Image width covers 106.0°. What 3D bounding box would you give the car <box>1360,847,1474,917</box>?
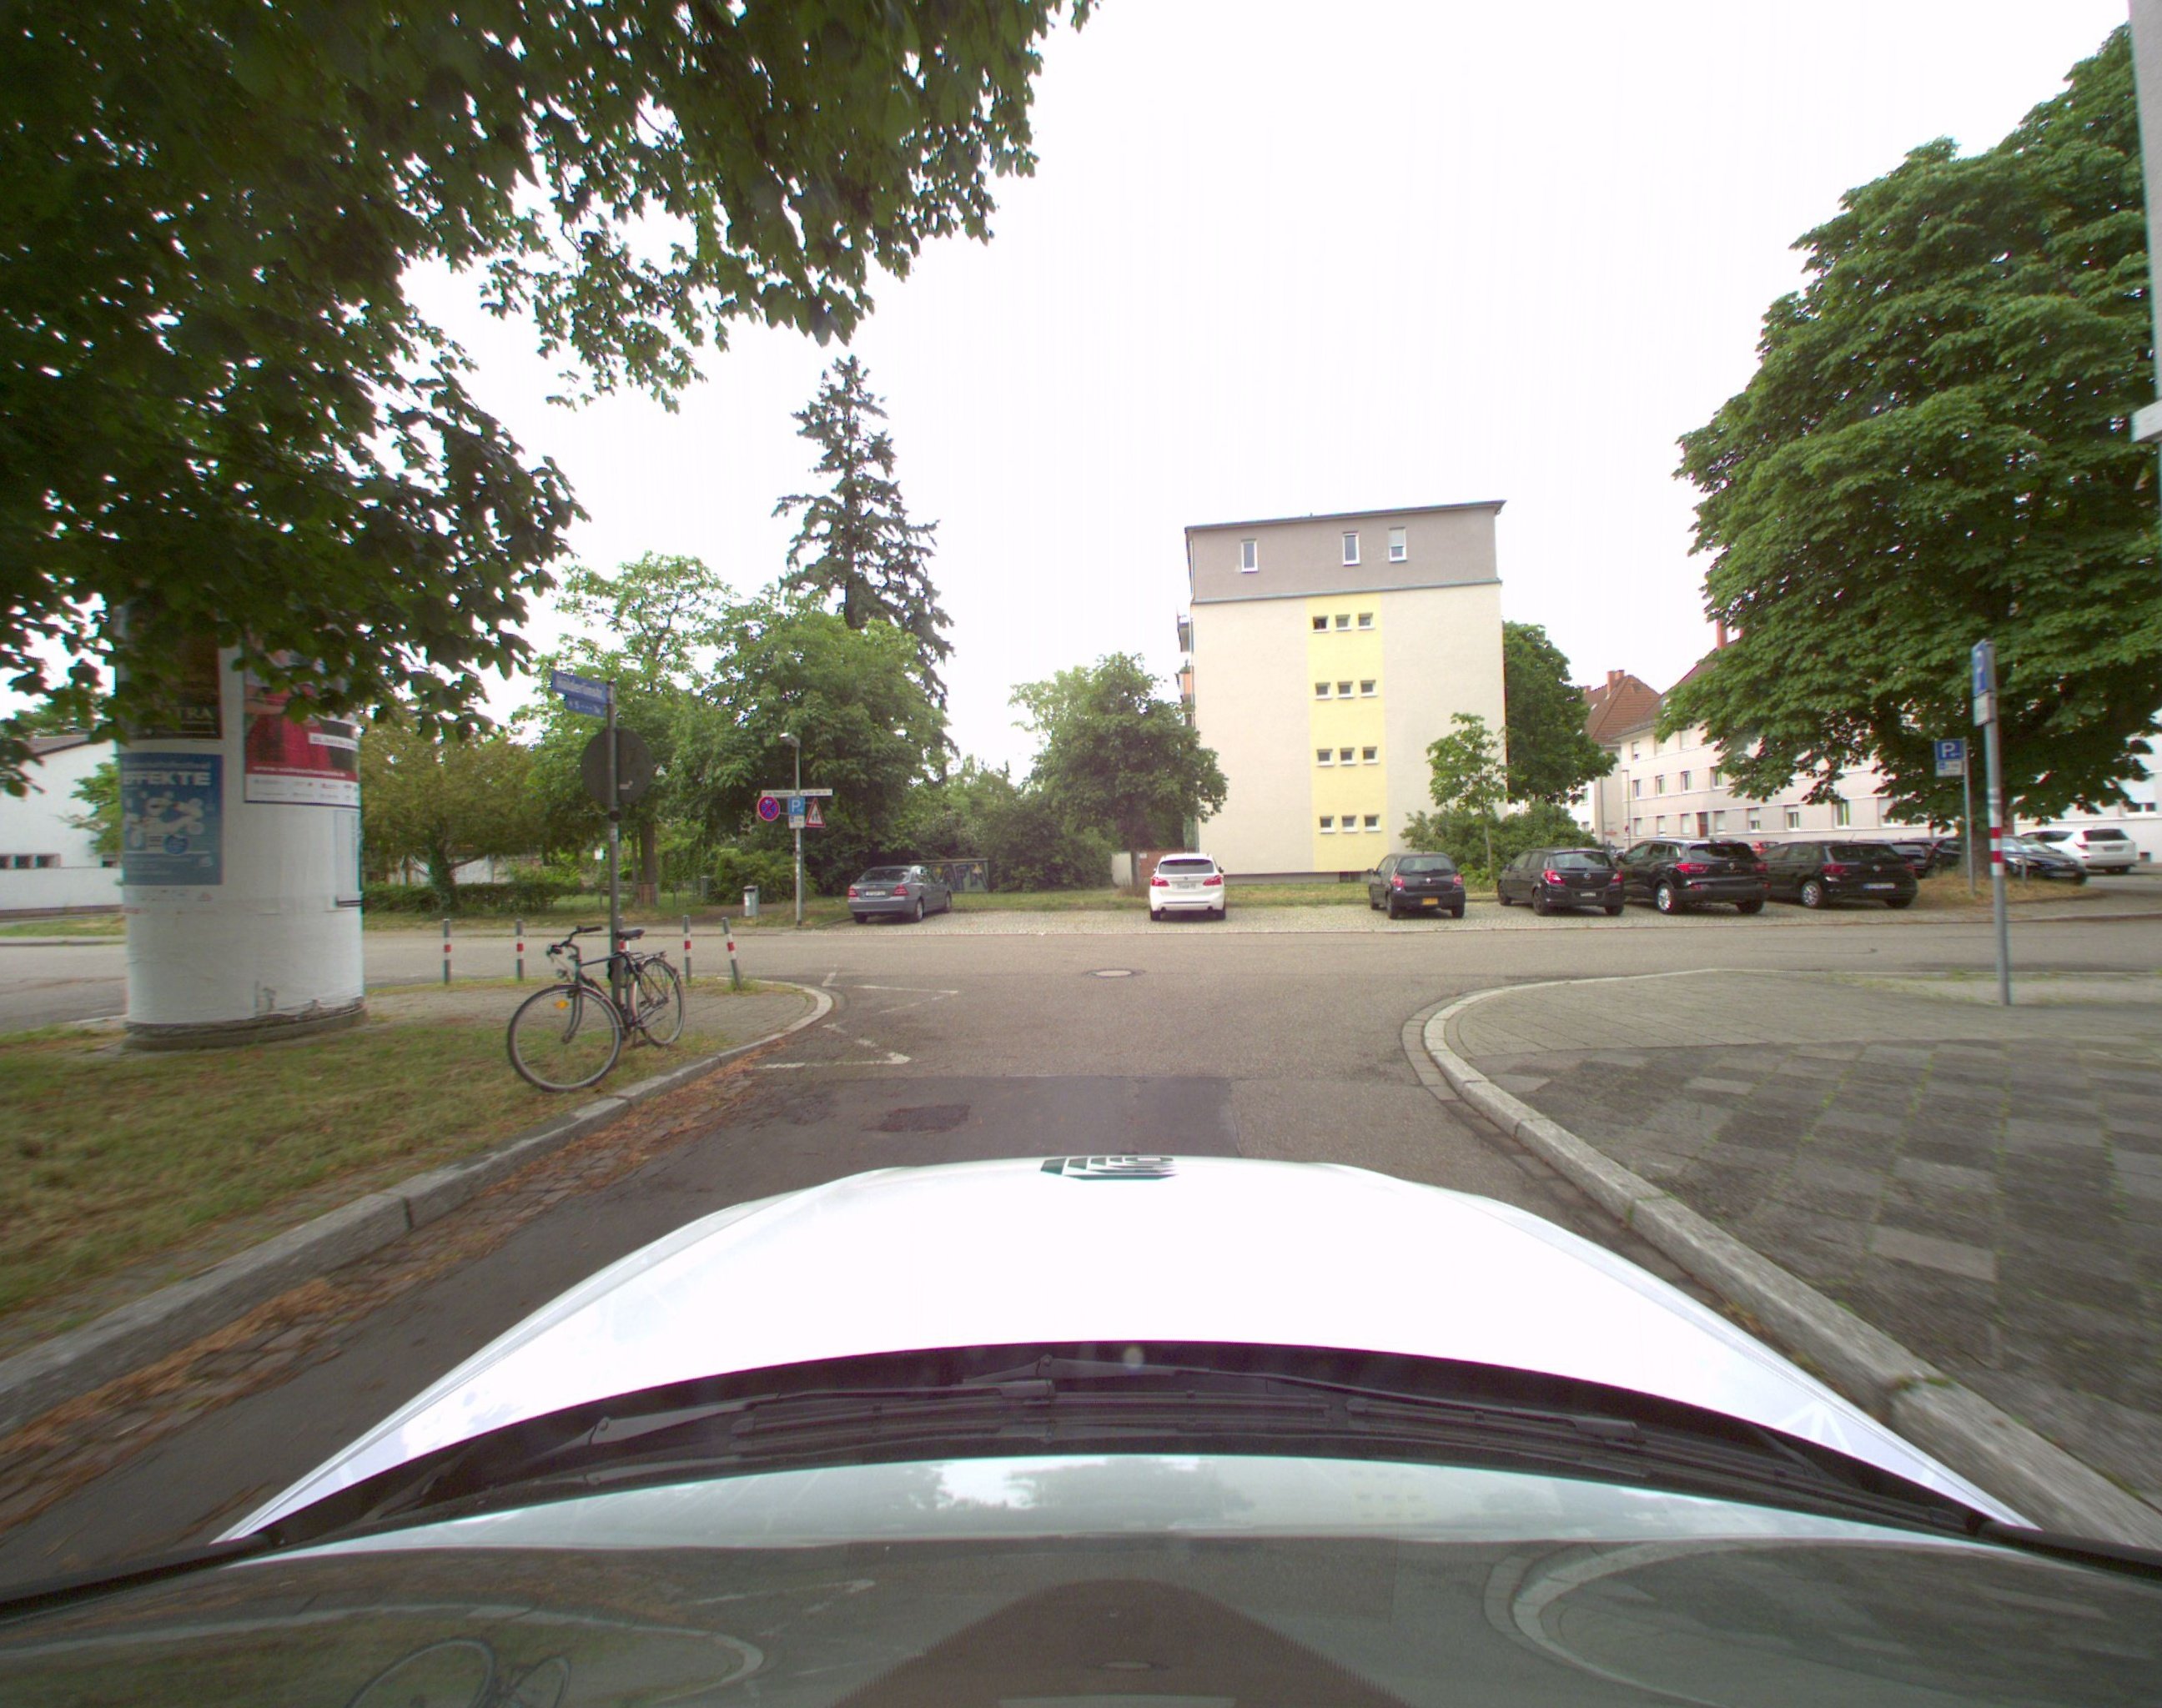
[{"bbox_3d":[7.954,0.583,19.702,1.822,1.463,4.577,-2,0,13],"label":"car"}]

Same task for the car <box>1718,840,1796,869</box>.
[{"bbox_3d":[37.987,0.049,45.878,1.686,1.525,3.836,-3,-1,10],"label":"car"}]

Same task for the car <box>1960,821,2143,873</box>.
[{"bbox_3d":[35.197,-0.226,29.745,1.832,1.674,4.299,-3,-1,8],"label":"car"}]

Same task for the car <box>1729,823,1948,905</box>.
[{"bbox_3d":[16.626,0.221,18.175,1.812,1.577,3.855,-2,-1,12],"label":"car"}]

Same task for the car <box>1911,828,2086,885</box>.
[{"bbox_3d":[25.982,0.082,23.237,1.514,1.493,3.604,1,0,13],"label":"car"}]

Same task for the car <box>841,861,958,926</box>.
[{"bbox_3d":[-4.663,0.963,21.635,1.666,1.454,4.567,-2,0,5],"label":"car"}]

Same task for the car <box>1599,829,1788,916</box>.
[{"bbox_3d":[13.483,0.364,18.266,1.897,1.697,4.083,-2,0,13],"label":"car"}]

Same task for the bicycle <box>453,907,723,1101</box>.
[{"bbox_3d":[-3.353,0.945,5.833,0.508,0.985,2.184,1,0,2],"label":"bicycle"}]

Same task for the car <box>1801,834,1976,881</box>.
[{"bbox_3d":[27.250,0.122,27.757,1.856,1.464,4.848,1,0,11],"label":"car"}]

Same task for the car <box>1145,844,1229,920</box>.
[{"bbox_3d":[2.735,0.612,20.441,1.867,1.560,4.161,0,3,10],"label":"car"}]

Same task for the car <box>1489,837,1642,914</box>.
[{"bbox_3d":[11.140,0.438,19.087,1.822,1.566,4.373,-2,0,13],"label":"car"}]
